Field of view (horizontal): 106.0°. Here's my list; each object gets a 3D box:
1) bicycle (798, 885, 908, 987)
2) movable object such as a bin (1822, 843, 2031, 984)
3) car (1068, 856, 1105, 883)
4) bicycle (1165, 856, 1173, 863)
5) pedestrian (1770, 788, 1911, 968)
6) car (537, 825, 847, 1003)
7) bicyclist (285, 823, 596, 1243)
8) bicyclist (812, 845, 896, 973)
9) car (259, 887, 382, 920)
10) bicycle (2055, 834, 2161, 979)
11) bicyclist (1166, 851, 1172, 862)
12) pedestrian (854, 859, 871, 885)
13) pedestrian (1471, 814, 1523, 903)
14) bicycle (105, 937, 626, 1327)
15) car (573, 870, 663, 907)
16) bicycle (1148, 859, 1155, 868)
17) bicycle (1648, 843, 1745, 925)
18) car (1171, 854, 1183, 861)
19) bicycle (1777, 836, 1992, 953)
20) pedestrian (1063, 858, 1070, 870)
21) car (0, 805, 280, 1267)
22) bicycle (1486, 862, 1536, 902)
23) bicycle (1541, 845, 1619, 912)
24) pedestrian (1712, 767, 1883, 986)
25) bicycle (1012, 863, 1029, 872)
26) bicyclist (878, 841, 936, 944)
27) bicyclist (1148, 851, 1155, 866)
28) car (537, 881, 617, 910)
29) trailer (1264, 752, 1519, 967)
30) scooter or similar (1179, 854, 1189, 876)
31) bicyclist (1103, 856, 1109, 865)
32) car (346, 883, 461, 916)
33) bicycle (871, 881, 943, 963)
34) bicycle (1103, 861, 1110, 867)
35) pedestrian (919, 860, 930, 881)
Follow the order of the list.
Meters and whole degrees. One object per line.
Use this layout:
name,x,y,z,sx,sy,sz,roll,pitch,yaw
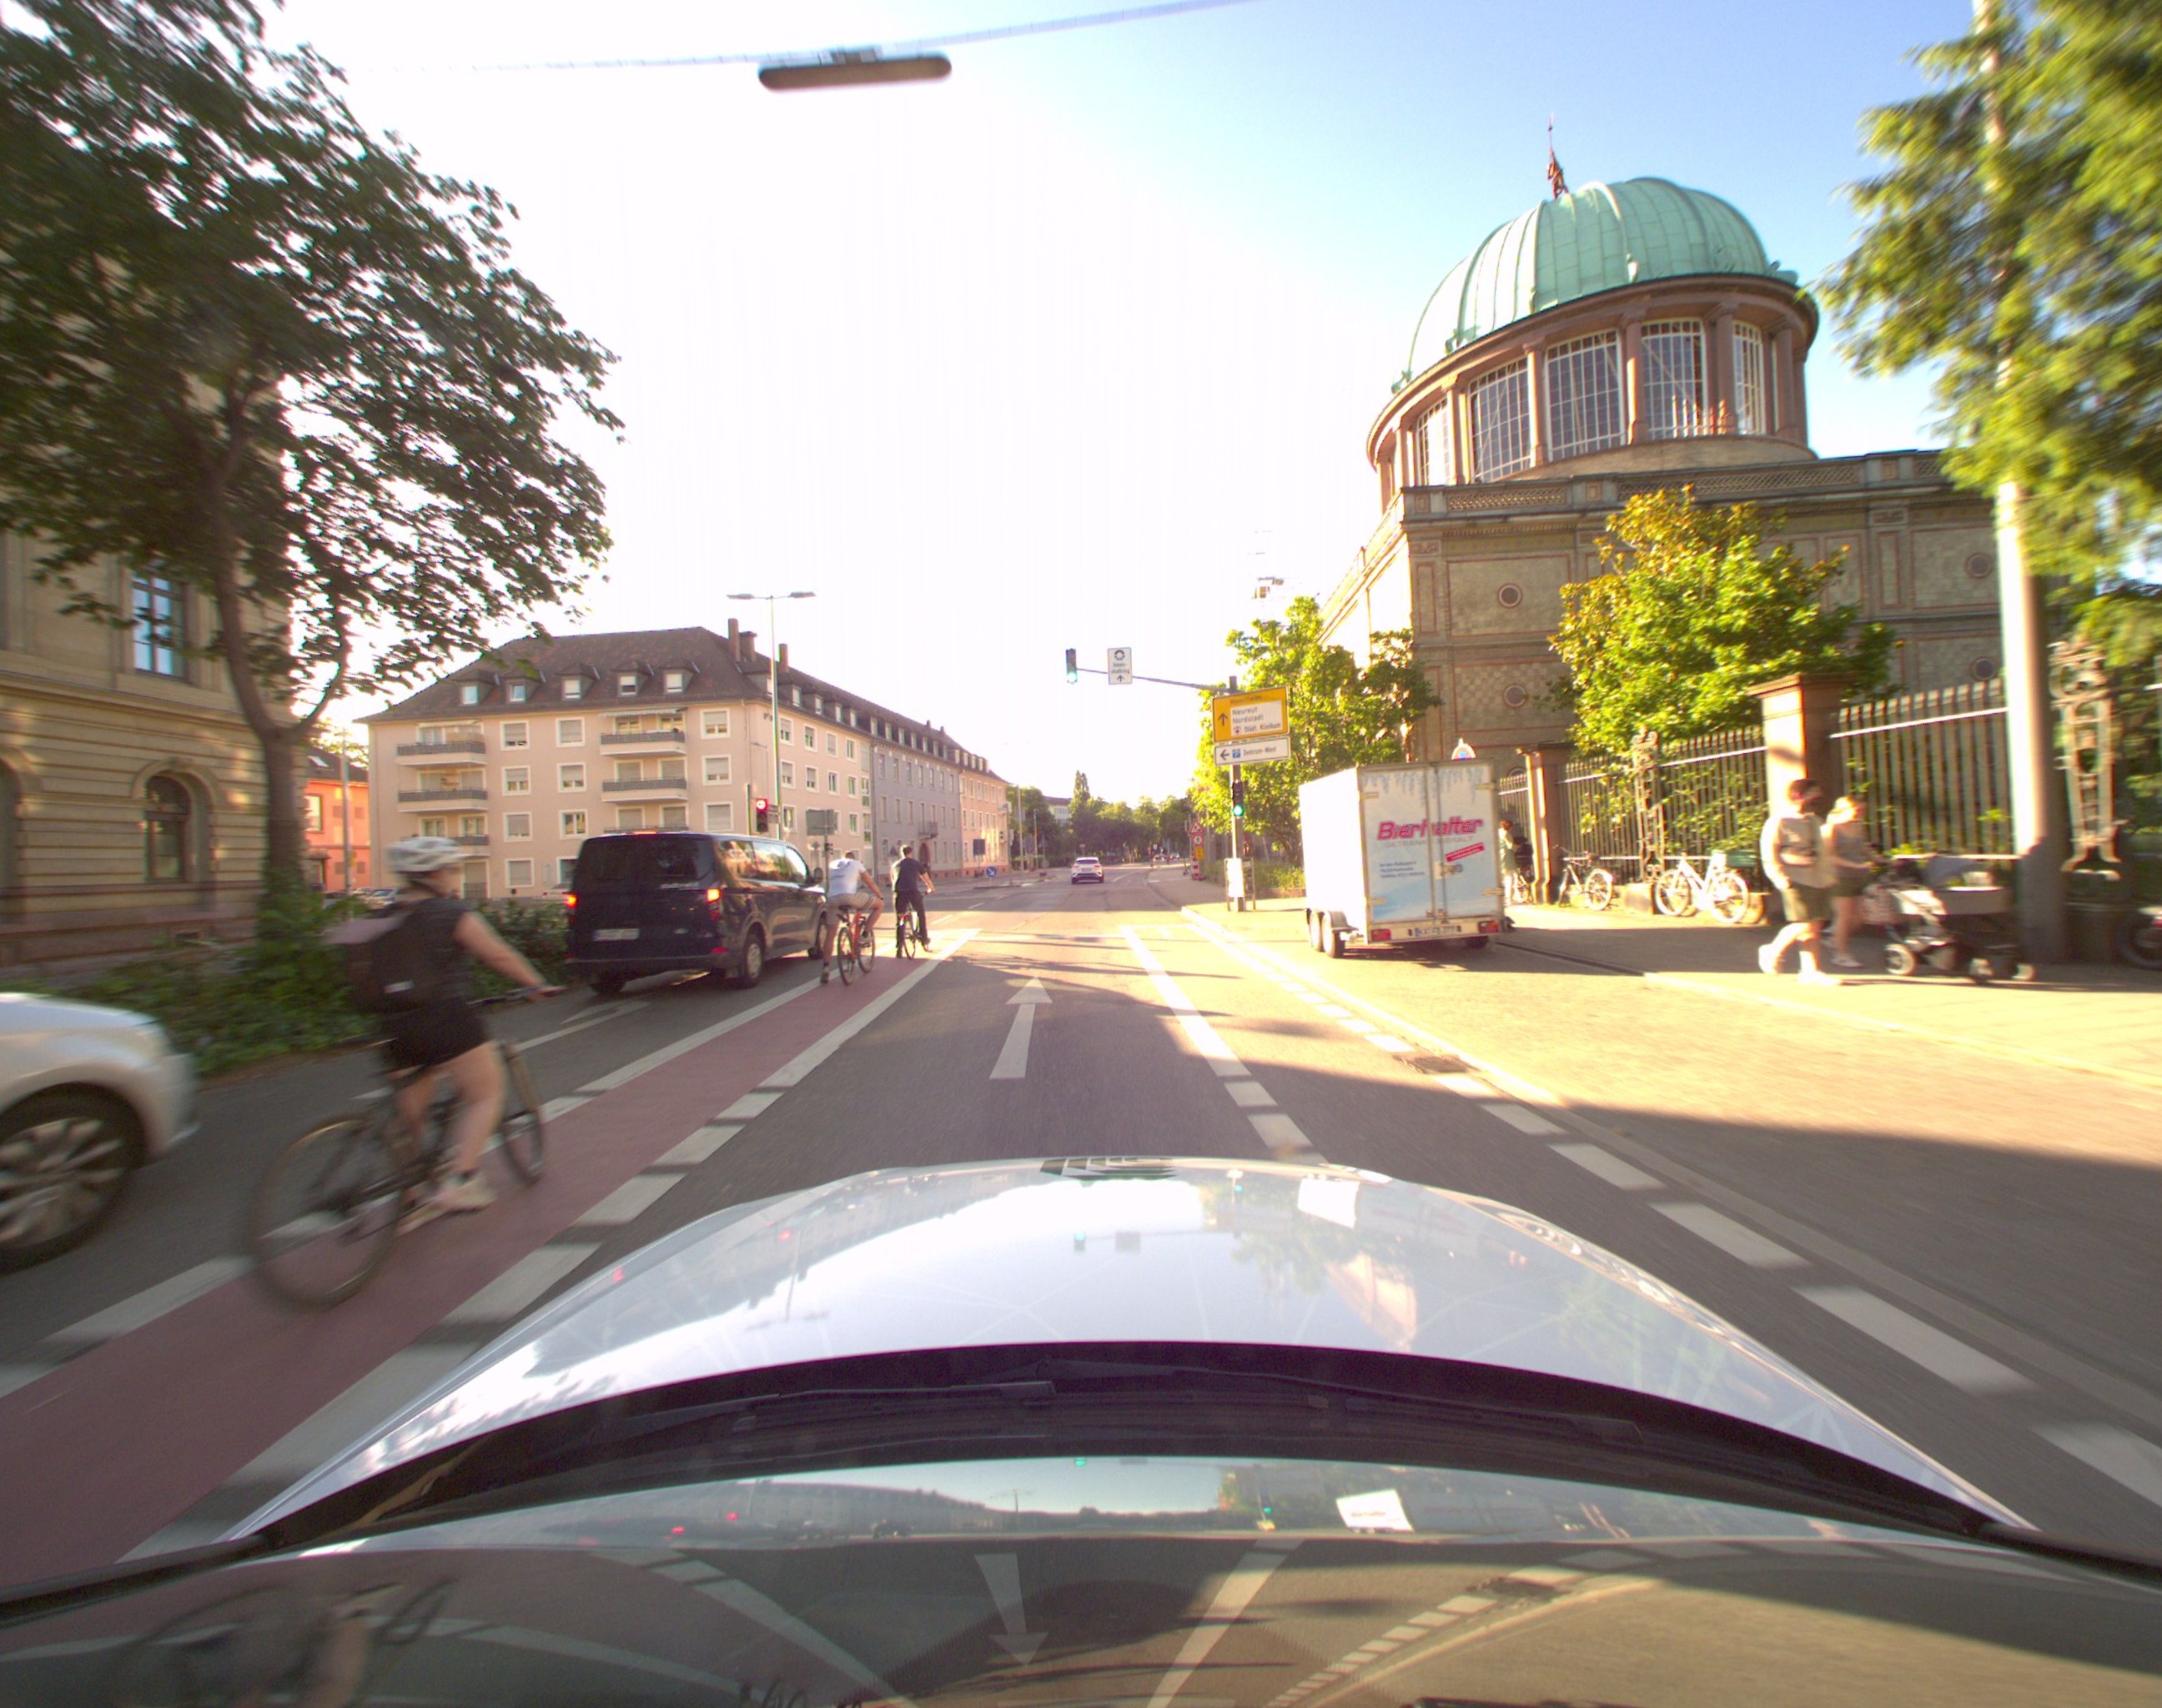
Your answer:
bicycle,-2.978,1.038,10.889,0.825,1.143,1.970,-2,0,2
movable object such as a bin,7.543,0.495,7.330,0.709,1.117,1.050,-5,0,-2
car,0.369,0.887,47.757,1.986,1.453,4.002,-3,-1,2
bicycle,12.497,0.791,115.251,0.747,1.026,1.877,-1,-1,16
pedestrian,7.621,0.229,8.200,0.680,1.701,0.693,-4,0,-2
car,-5.160,0.712,11.801,2.062,1.915,5.030,-3,-1,-1
bicyclist,-2.823,0.714,3.697,0.670,1.652,0.887,-2,-1,0
bicyclist,-2.998,0.707,10.829,0.800,1.608,0.825,-3,0,2
car,-41.516,2.687,44.638,1.984,1.432,4.792,-3,0,4
bicycle,8.966,0.425,6.396,0.417,1.156,1.827,-5,0,2
bicyclist,12.471,0.383,115.210,0.742,1.537,0.973,-2,0,15
pedestrian,-15.679,1.293,58.455,0.862,1.863,1.017,0,0,9
pedestrian,8.541,0.093,16.737,0.636,1.768,0.738,-3,0,2
bicycle,-2.814,0.990,3.520,0.666,1.072,1.753,-2,0,1
car,-24.735,1.819,43.748,1.986,1.686,4.617,-3,0,2
bicycle,7.771,1.025,89.782,0.639,1.025,2.218,-1,0,9
bicycle,8.871,0.403,11.791,0.272,1.105,1.534,-4,0,4
car,21.487,0.790,181.876,1.797,1.419,4.576,-3,0,18
bicycle,8.667,0.397,8.916,0.394,1.130,1.927,-3,0,0
pedestrian,-2.346,1.604,132.405,0.849,1.851,1.005,-3,-1,14
car,-5.037,0.726,1.780,1.987,1.749,4.741,-3,0,-4
bicycle,9.094,0.573,17.260,0.263,0.793,1.451,-3,0,1
bicycle,8.902,0.414,14.583,0.397,1.105,1.682,-4,0,4
pedestrian,6.681,0.194,7.644,0.713,1.894,0.889,-4,0,-3
bicycle,-8.600,1.898,116.438,2.303,1.230,0.562,-3,0,14
bicyclist,-2.838,0.610,13.325,0.667,1.608,0.825,-3,0,2
bicyclist,7.778,0.453,89.880,0.632,1.614,1.287,-2,0,9
car,-27.013,2.187,43.790,1.599,1.310,4.003,-3,0,3
trailer,4.379,0.068,12.407,2.072,2.528,4.492,-4,0,1
scooter or similar,6.508,0.674,51.436,0.552,1.308,1.836,-3,0,7
bicyclist,4.240,1.066,137.789,0.732,1.485,0.667,-4,-1,12
car,-36.758,2.411,44.364,1.984,1.432,4.792,-3,0,4
bicycle,-2.813,1.062,13.365,0.639,1.155,2.078,-2,0,2
bicycle,4.300,1.720,137.758,0.732,0.995,2.117,-4,1,13
pedestrian,-13.789,1.438,71.929,0.628,1.846,1.015,0,0,8
